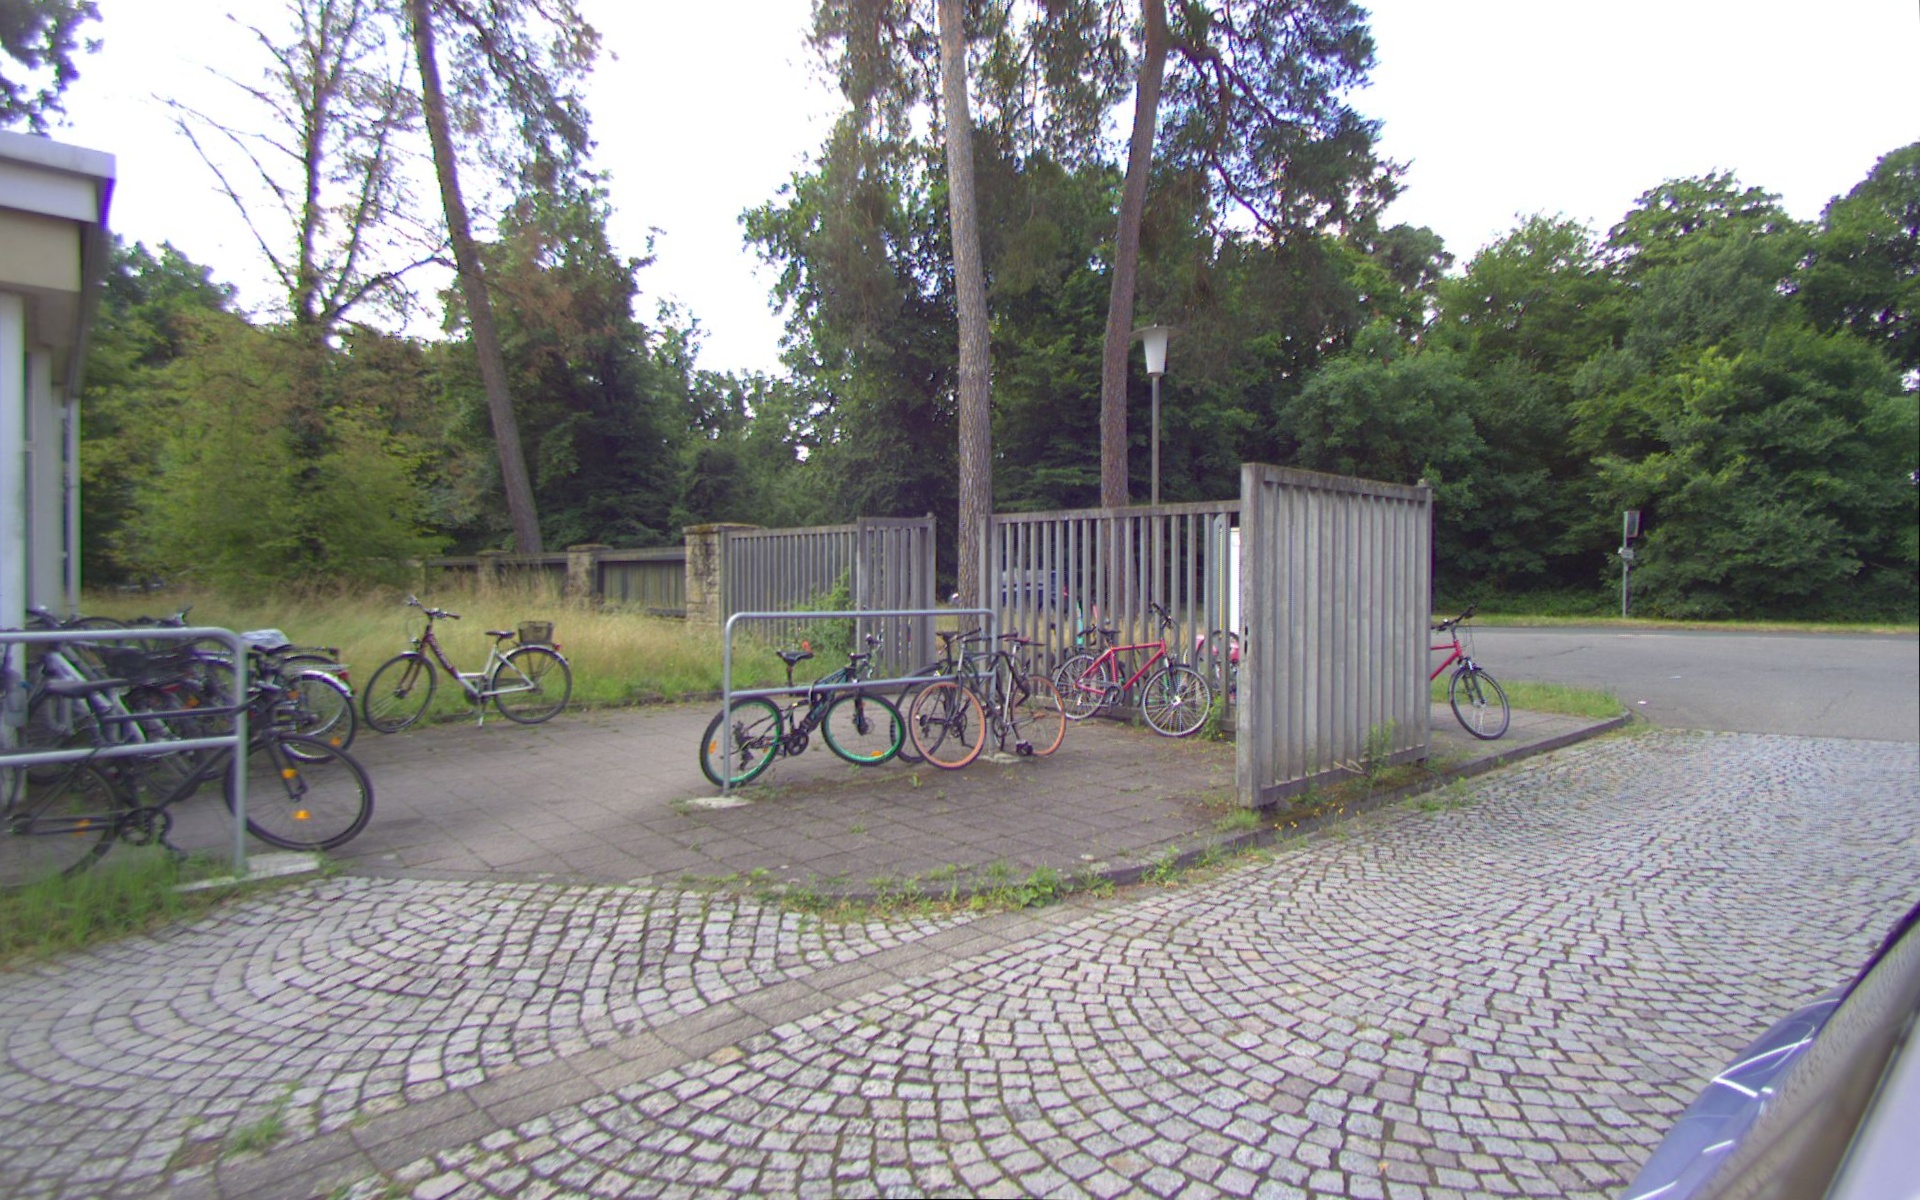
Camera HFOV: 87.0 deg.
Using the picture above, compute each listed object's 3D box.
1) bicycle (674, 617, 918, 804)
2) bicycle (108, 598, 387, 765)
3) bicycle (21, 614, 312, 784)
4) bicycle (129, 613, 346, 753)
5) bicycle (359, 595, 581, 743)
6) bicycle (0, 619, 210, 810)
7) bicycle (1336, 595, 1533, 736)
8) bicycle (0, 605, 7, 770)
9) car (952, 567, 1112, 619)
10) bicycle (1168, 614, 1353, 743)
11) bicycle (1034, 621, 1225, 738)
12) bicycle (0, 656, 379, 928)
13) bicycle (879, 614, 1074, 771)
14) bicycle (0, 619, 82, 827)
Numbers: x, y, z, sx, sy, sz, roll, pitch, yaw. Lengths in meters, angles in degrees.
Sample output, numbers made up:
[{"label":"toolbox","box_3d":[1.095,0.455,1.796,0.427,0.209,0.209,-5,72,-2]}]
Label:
[{"label":"bicycle","box_3d":[-1.088,0.684,6.933,1.539,1.075,0.691,-1,1,-44]},{"label":"bicycle","box_3d":[-5.096,0.565,7.279,1.708,1.146,0.474,0,0,3]},{"label":"bicycle","box_3d":[-5.243,0.627,6.708,1.720,1.059,0.453,0,0,8]},{"label":"bicycle","box_3d":[-5.637,0.623,7.959,1.328,1.023,0.406,0,1,-21]},{"label":"bicycle","box_3d":[-4.243,0.545,8.819,1.650,1.153,0.649,-1,1,-38]},{"label":"bicycle","box_3d":[-5.192,0.656,6.131,1.388,1.059,0.337,0,0,20]},{"label":"bicycle","box_3d":[4.747,0.601,10.174,1.647,1.246,0.739,2,2,39]},{"label":"bicycle","box_3d":[-7.240,0.603,6.365,0.490,1.089,1.803,3,2,44]},{"label":"car","box_3d":[2.729,-0.284,37.897,5.848,1.859,1.995,0,1,9]},{"label":"bicycle","box_3d":[2.801,0.699,9.600,0.380,1.046,1.728,0,2,-42]},{"label":"bicycle","box_3d":[1.622,0.736,9.936,1.861,0.951,0.496,2,2,42]},{"label":"bicycle","box_3d":[-3.617,0.802,4.584,1.628,0.964,0.535,-2,2,-44]},{"label":"bicycle","box_3d":[0.170,0.671,7.976,1.704,1.070,0.473,-1,1,-44]},{"label":"bicycle","box_3d":[-5.434,0.653,5.718,1.141,1.076,0.284,0,0,26]}]
